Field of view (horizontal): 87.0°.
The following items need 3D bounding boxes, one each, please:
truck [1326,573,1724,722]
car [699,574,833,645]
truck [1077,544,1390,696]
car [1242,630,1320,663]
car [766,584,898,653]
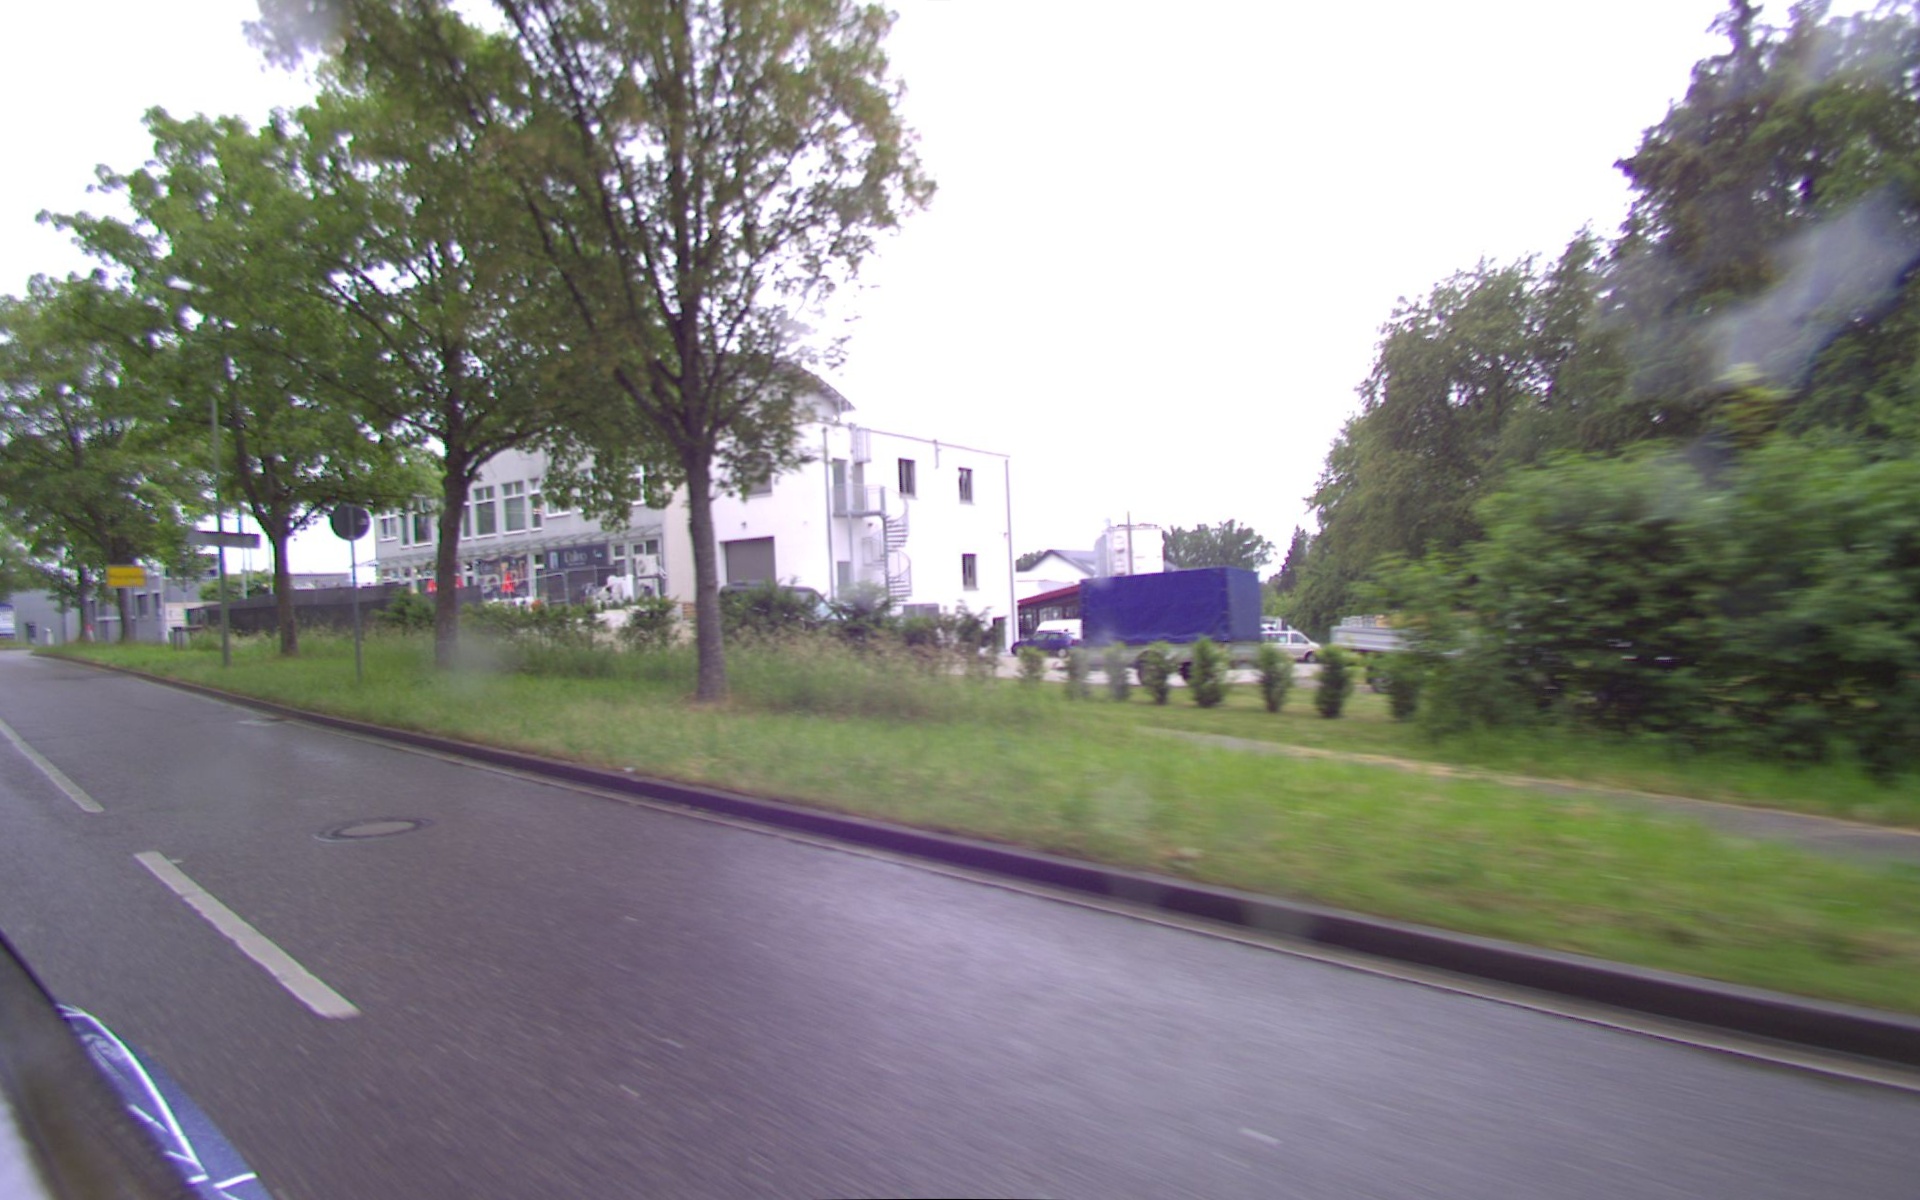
[{"bbox_3d":[9.987,0.775,18.702,1.966,2.218,6.259,-3,0,-29],"label":"truck"},{"bbox_3d":[-7.316,0.286,37.859,5.222,1.929,1.887,9,6,38],"label":"car"},{"bbox_3d":[4.986,0.383,18.912,5.215,2.476,1.975,-3,0,38],"label":"truck"},{"bbox_3d":[19.400,2.793,61.246,4.205,1.819,1.686,-1,0,35],"label":"car"},{"bbox_3d":[-5.042,0.653,39.408,5.222,1.929,1.887,9,6,38],"label":"car"}]
